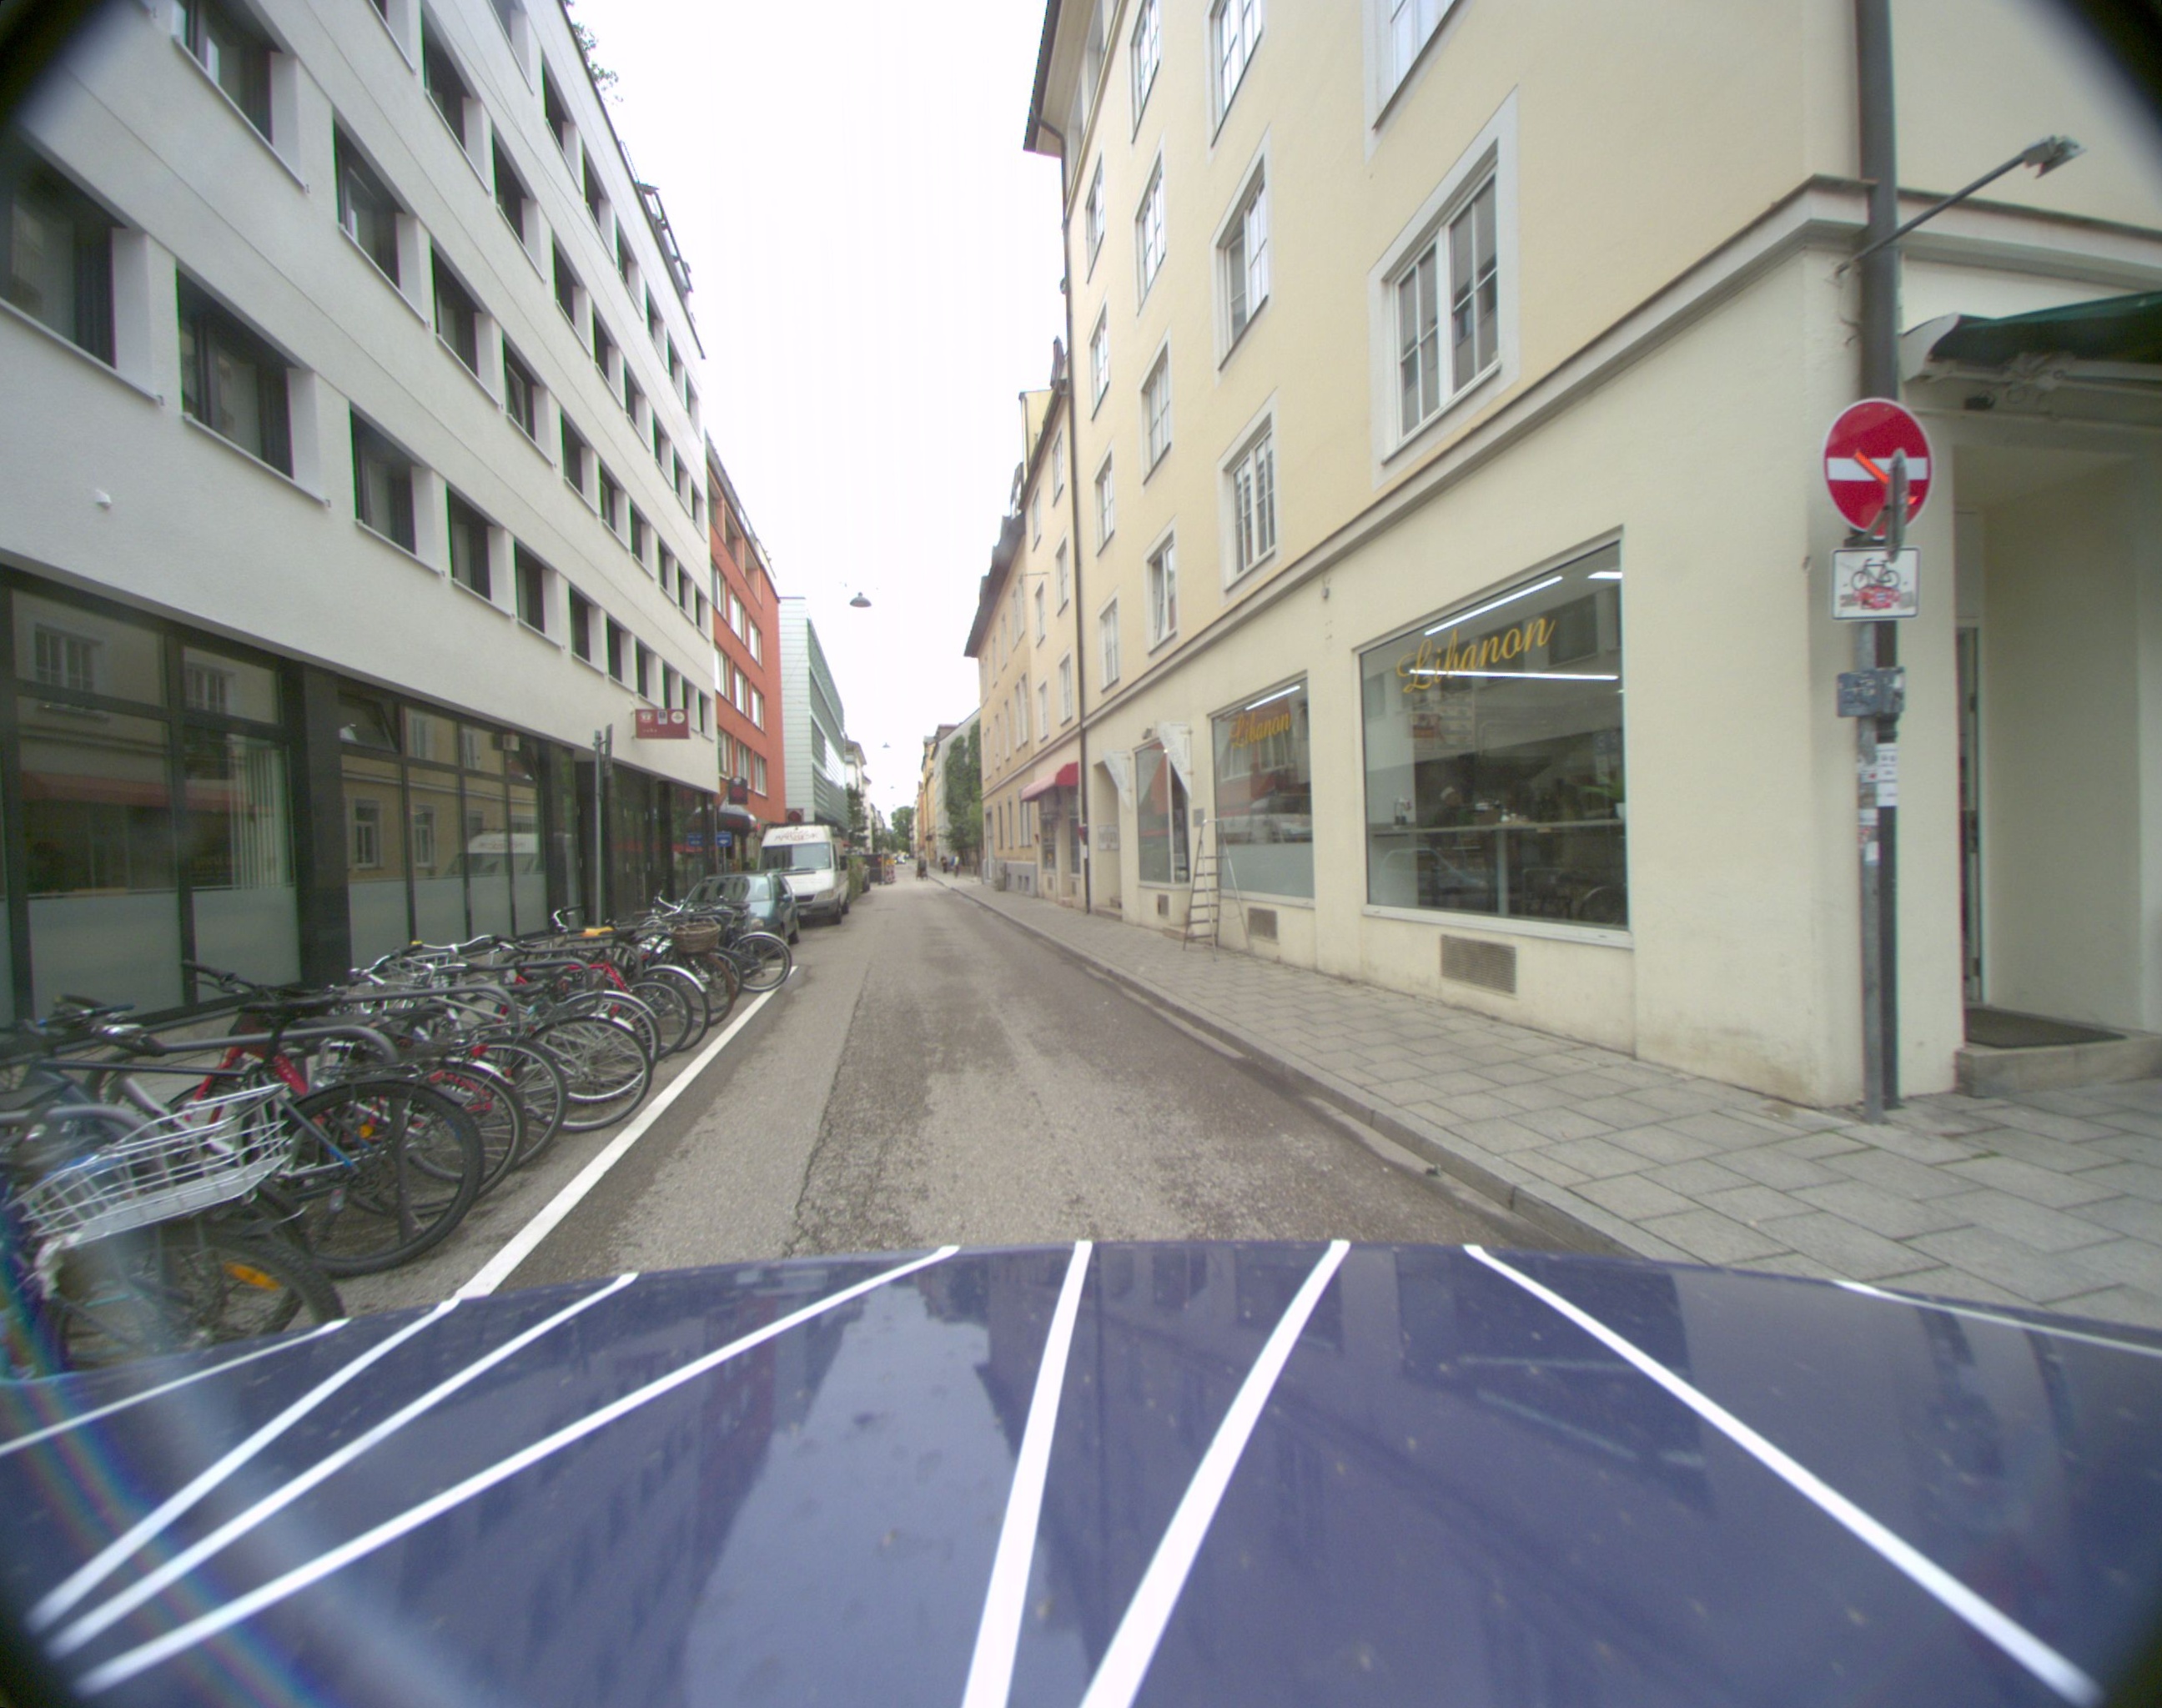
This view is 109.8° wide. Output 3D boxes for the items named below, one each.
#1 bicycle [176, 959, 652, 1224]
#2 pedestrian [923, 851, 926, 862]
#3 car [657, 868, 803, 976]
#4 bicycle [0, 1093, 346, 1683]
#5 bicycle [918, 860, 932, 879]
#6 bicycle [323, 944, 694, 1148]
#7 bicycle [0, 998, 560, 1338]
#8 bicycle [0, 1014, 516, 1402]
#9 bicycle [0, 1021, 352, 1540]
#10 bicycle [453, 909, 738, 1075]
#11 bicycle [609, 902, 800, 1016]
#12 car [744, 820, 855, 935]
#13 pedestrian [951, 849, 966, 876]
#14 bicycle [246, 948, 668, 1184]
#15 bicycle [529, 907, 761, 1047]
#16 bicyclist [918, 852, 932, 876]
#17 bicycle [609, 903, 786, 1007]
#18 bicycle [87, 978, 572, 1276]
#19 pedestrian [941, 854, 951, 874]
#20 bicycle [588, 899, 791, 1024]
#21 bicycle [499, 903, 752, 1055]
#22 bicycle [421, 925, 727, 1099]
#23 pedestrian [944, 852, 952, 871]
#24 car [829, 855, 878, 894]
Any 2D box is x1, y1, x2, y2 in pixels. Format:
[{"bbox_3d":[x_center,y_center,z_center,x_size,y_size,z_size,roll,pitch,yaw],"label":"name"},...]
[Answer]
[{"bbox_3d":[-3.420,1.189,4.060,1.881,1.073,0.408,-2,0,-16],"label":"bicycle"},{"bbox_3d":[-26.359,0.381,128.027,0.494,1.814,0.552,-2,1,-14],"label":"pedestrian"},{"bbox_3d":[-5.809,1.032,12.990,1.586,1.455,3.547,-2,1,-14],"label":"car"},{"bbox_3d":[-2.722,1.237,1.685,1.457,1.063,0.462,-3,1,-20],"label":"bicycle"},{"bbox_3d":[-11.552,1.131,56.292,0.935,1.250,2.411,-1,1,-13],"label":"bicycle"},{"bbox_3d":[-3.747,1.235,5.150,1.881,1.046,0.563,-2,2,-16],"label":"bicycle"},{"bbox_3d":[-3.282,1.253,3.247,1.680,1.073,0.335,-2,0,-16],"label":"bicycle"},{"bbox_3d":[-3.244,1.258,2.831,1.747,1.073,0.451,-2,0,-16],"label":"bicycle"},{"bbox_3d":[-3.059,1.180,2.070,1.457,1.201,0.394,-3,1,-20],"label":"bicycle"},{"bbox_3d":[-3.972,1.101,6.374,1.900,1.163,0.565,-2,1,-16],"label":"bicycle"},{"bbox_3d":[-4.352,1.201,8.913,1.880,1.101,0.488,-4,0,-15],"label":"bicycle"},{"bbox_3d":[-7.194,0.519,20.051,1.927,2.491,5.989,-3,1,-14],"label":"car"},{"bbox_3d":[-8.737,0.588,54.131,0.862,1.834,0.973,-3,1,-12],"label":"pedestrian"},{"bbox_3d":[-3.554,1.180,4.479,1.881,1.073,0.402,-2,0,-16],"label":"bicycle"},{"bbox_3d":[-4.330,1.197,7.686,1.880,1.150,0.564,-4,0,-15],"label":"bicycle"},{"bbox_3d":[-11.449,0.724,55.858,0.930,1.711,1.098,-1,1,-13],"label":"bicyclist"},{"bbox_3d":[-4.832,1.253,9.689,1.880,1.073,0.488,-4,0,-15],"label":"bicycle"},{"bbox_3d":[-3.436,1.214,3.605,1.619,1.073,0.377,-2,0,-16],"label":"bicycle"},{"bbox_3d":[-12.469,0.899,70.298,0.778,1.826,0.990,-2,1,-13],"label":"pedestrian"},{"bbox_3d":[-4.265,1.149,8.400,1.881,1.197,0.488,-2,0,-15],"label":"bicycle"},{"bbox_3d":[-4.103,1.096,6.988,1.881,1.197,0.579,-1,1,-15],"label":"bicycle"},{"bbox_3d":[-3.812,1.161,5.855,1.881,1.089,0.439,-2,0,-16],"label":"bicycle"},{"bbox_3d":[-11.852,0.665,67.726,0.554,1.650,0.996,-2,1,-13],"label":"pedestrian"},{"bbox_3d":[-10.988,0.936,36.954,1.830,1.700,4.384,-3,1,-12],"label":"car"}]
